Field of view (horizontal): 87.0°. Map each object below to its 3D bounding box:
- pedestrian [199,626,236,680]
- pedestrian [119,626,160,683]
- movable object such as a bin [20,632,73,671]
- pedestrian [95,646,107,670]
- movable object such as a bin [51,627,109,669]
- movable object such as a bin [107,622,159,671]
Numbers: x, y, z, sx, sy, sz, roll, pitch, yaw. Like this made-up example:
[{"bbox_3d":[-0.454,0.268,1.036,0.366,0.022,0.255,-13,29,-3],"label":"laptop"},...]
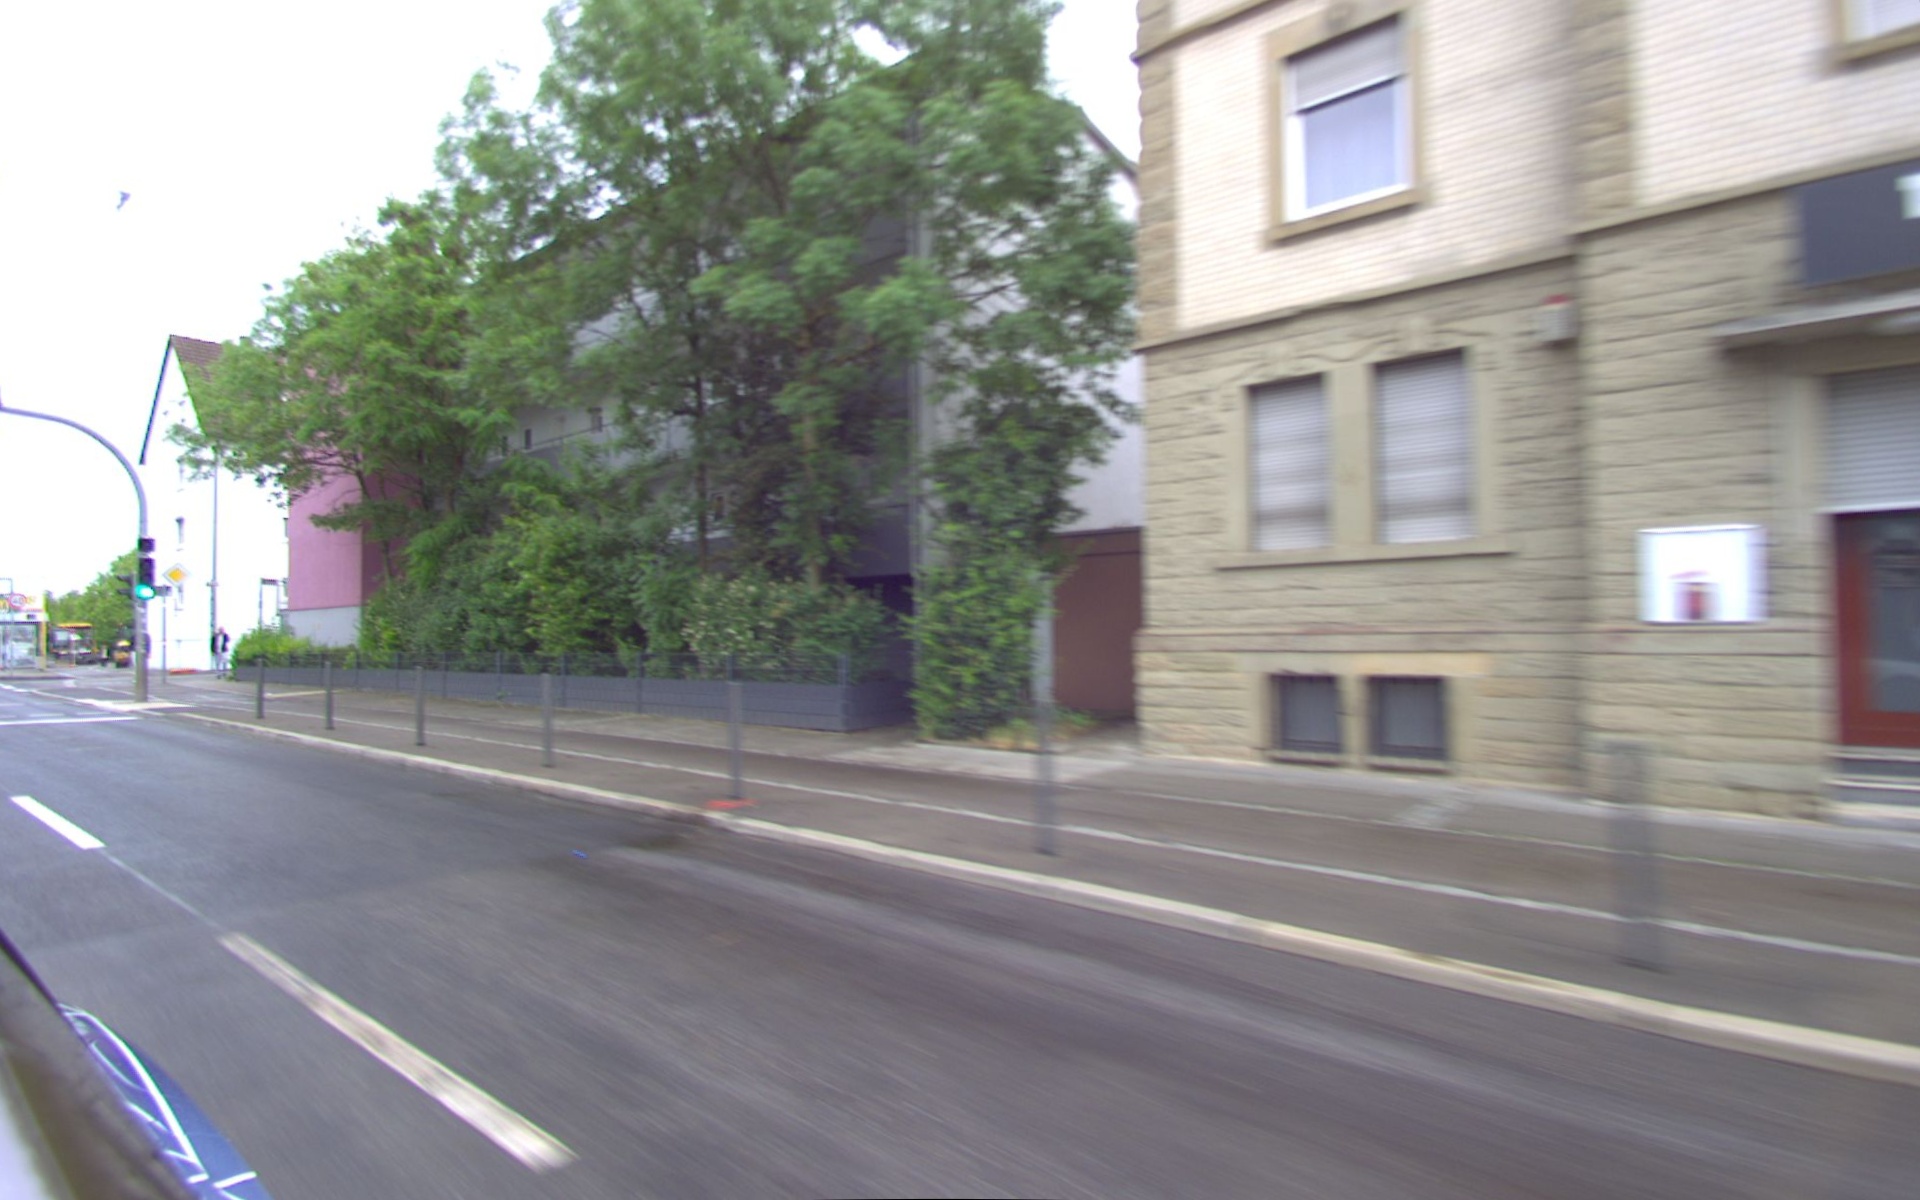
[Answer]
[{"bbox_3d":[-25.783,1.849,35.140,1.115,1.835,0.797,-4,-3,40],"label":"pedestrian"},{"bbox_3d":[-27.851,1.834,34.351,1.043,1.897,0.853,-3,-4,39],"label":"pedestrian"},{"bbox_3d":[-75.493,4.295,83.738,2.787,3.136,4.643,1,-4,-37],"label":"movable object such as a bin"},{"bbox_3d":[-57.340,3.890,67.569,0.595,1.540,1.040,-1,-3,-39],"label":"pedestrian"},{"bbox_3d":[-84.393,4.623,97.180,2.907,3.873,8.150,0,-3,-32],"label":"movable object such as a bin"},{"bbox_3d":[-51.331,2.932,62.895,2.101,2.828,4.990,-2,-2,-35],"label":"movable object such as a bin"}]
